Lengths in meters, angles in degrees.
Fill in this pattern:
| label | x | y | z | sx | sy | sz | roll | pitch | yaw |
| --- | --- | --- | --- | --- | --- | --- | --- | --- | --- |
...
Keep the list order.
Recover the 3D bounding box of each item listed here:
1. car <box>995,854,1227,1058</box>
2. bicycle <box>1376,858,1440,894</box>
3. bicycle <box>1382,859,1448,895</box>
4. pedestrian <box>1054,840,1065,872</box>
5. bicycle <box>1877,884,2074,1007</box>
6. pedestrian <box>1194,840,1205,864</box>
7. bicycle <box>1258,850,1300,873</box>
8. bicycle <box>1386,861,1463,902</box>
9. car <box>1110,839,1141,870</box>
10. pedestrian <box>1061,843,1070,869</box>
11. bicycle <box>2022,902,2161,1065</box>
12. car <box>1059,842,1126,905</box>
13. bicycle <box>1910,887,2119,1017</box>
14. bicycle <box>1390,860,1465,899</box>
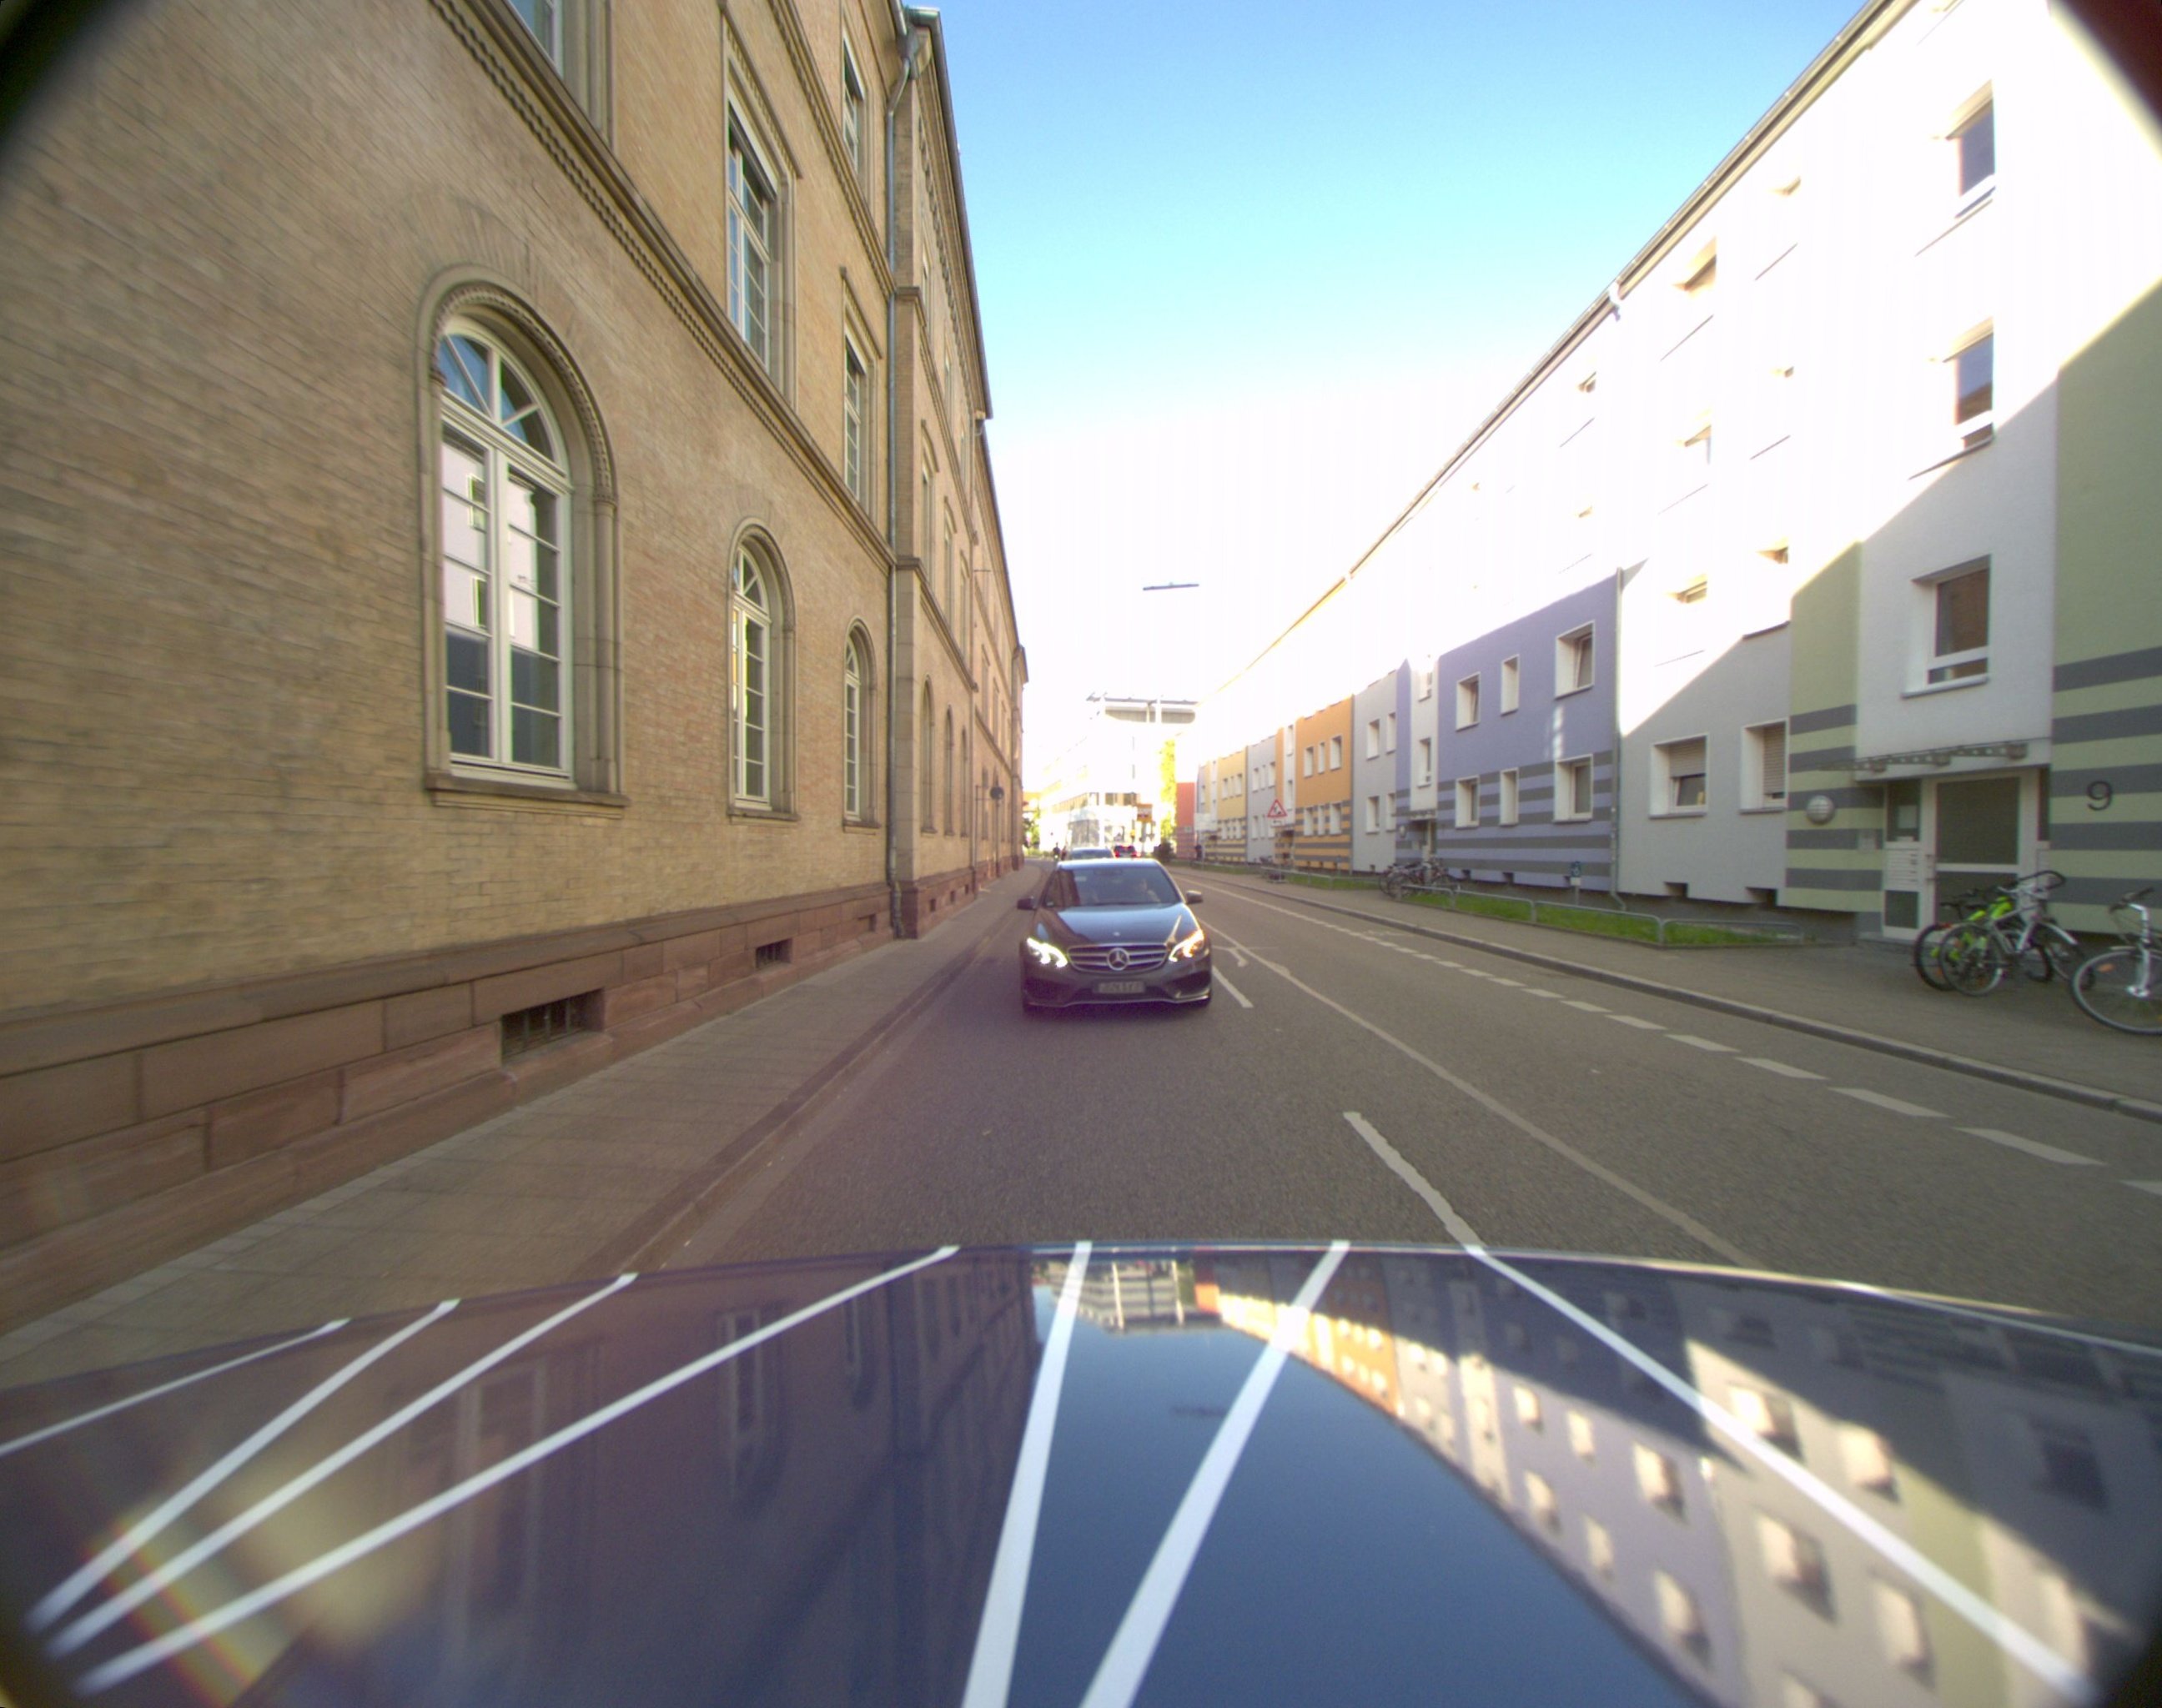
| label | x | y | z | sx | sy | sz | roll | pitch | yaw |
| --- | --- | --- | --- | --- | --- | --- | --- | --- | --- |
| car | 0.330 | 0.825 | 8.414 | 1.785 | 1.471 | 4.670 | -3 | 1 | 2 |
| bicycle | 9.570 | 0.643 | 22.279 | 1.657 | 0.941 | 0.388 | -4 | 2 | 1 |
| bicycle | 9.605 | 0.657 | 21.872 | 1.657 | 0.941 | 0.388 | -4 | 2 | 1 |
| pedestrian | -1.317 | 0.109 | 46.511 | 0.677 | 1.928 | 0.858 | 0 | 2 | 0 |
| bicycle | 9.243 | 0.925 | 7.863 | 1.738 | 1.094 | 0.388 | -4 | 2 | -6 |
| pedestrian | 8.248 | -0.154 | 52.838 | 0.612 | 1.641 | 0.447 | 0 | 2 | -5 |
| bicycle | 9.539 | 0.370 | 36.645 | 1.807 | 0.977 | 0.654 | -4 | 2 | -2 |
| bicycle | 9.007 | 0.724 | 19.937 | 1.802 | 0.941 | 0.388 | -4 | 2 | 1 |
| car | 2.776 | -0.014 | 48.284 | 1.682 | 1.777 | 4.242 | -3 | 1 | 1 |
| pedestrian | -1.035 | 0.130 | 50.350 | 0.603 | 1.770 | 0.652 | 0 | 2 | 0 |
| bicycle | 8.859 | 0.971 | 6.030 | 1.820 | 1.094 | 0.749 | -4 | 1 | 1 |
| car | 0.348 | 0.478 | 21.999 | 1.682 | 1.568 | 4.242 | -3 | 1 | 1 |
| bicycle | 9.155 | 0.938 | 7.460 | 1.738 | 1.094 | 0.388 | -4 | 2 | -6 |
| bicycle | 9.388 | 0.694 | 20.621 | 1.802 | 0.941 | 0.388 | -4 | 2 | 1 |
